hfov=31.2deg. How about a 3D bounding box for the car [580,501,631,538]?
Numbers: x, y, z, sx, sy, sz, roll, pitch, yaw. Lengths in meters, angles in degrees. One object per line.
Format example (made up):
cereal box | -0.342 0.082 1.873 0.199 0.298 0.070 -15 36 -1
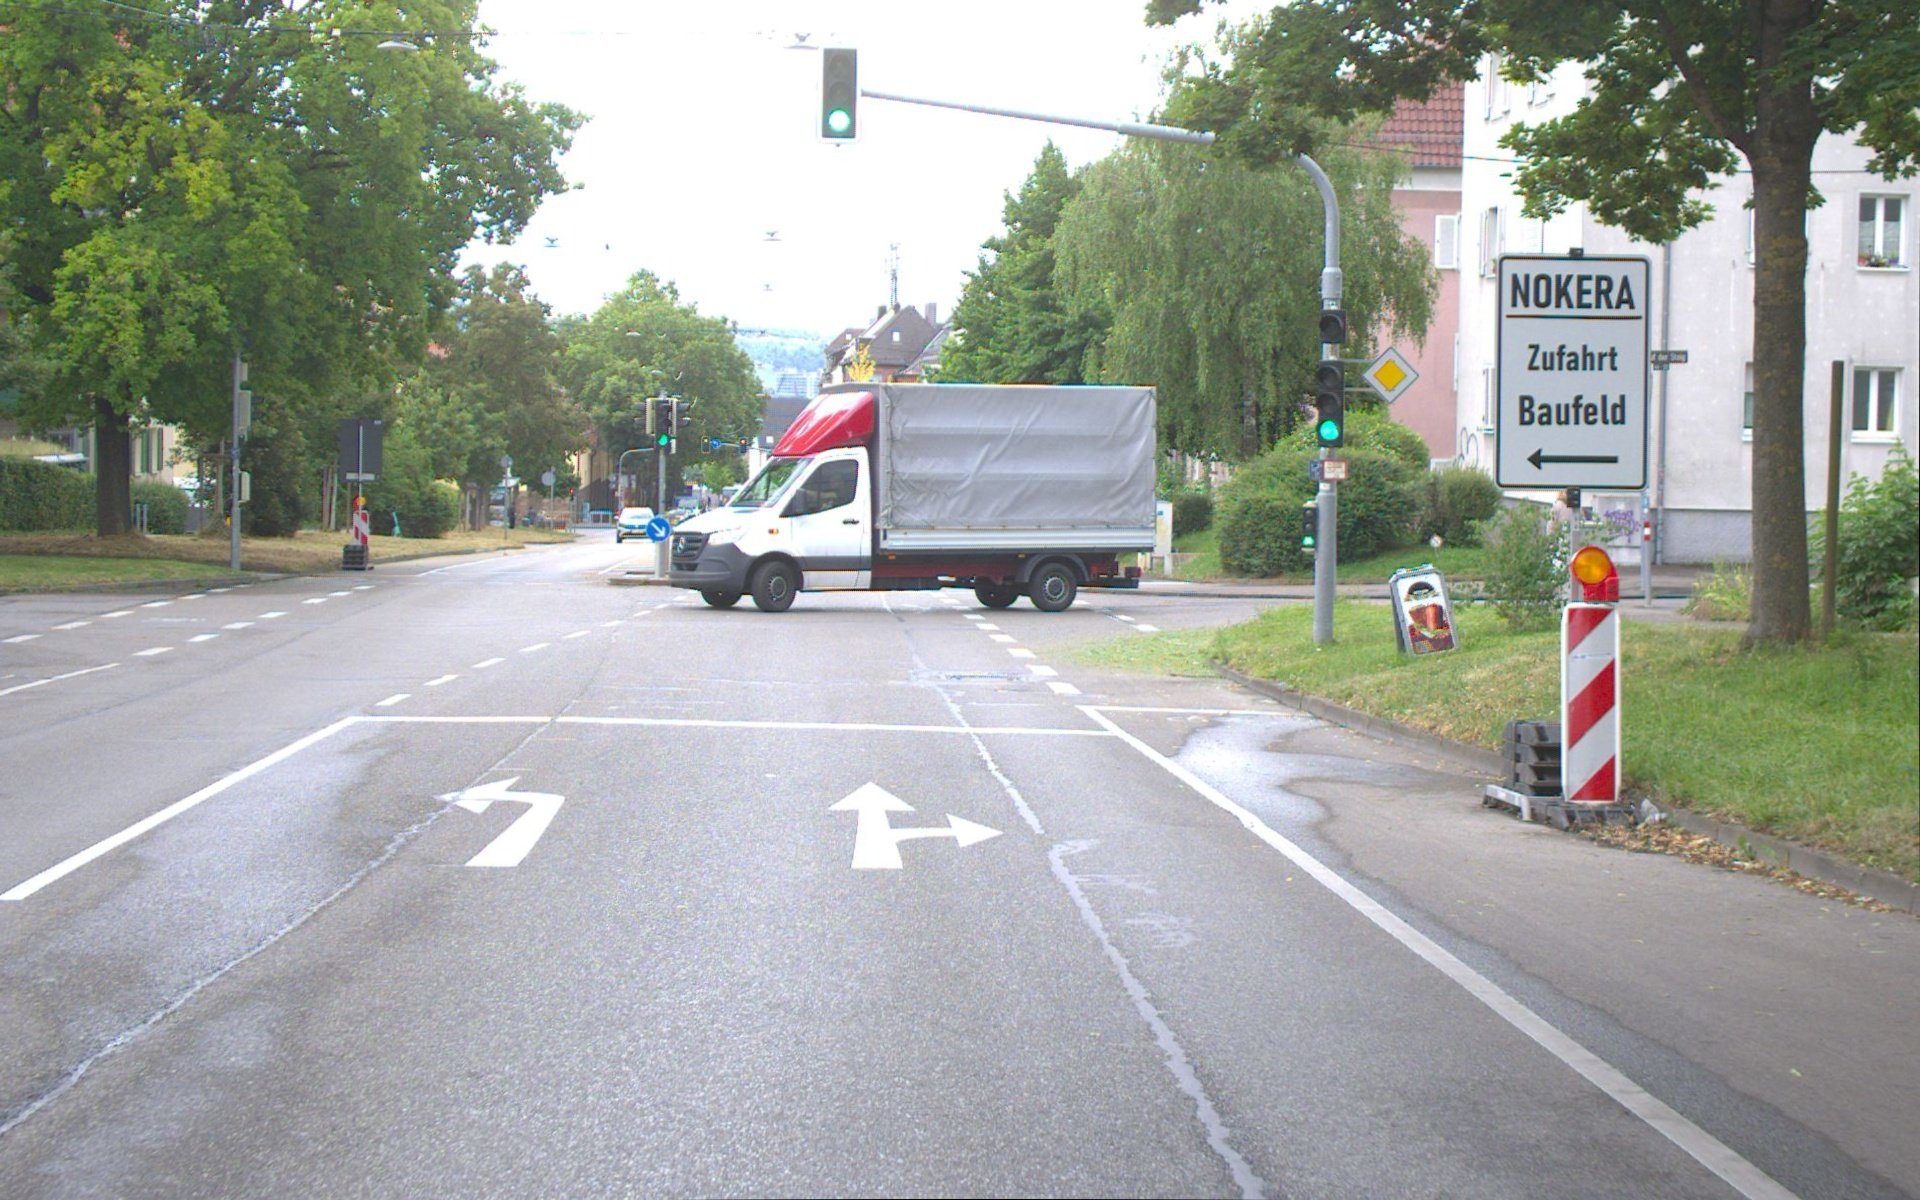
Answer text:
car | -15.109 -3.423 146.832 1.993 1.500 4.001 2 1 -4

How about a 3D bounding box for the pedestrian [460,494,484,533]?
pedestrian | -21.055 -3.742 148.308 0.948 1.644 1.043 1 1 -9

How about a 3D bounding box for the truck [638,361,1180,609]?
truck | -0.701 -1.589 48.833 7.225 3.295 2.541 0 2 -24

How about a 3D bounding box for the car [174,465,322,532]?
car | -18.153 -2.574 87.741 3.448 1.590 2.000 2 1 -4

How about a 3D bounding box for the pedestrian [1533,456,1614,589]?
pedestrian | 8.739 -1.107 48.998 0.747 1.848 0.955 -2 2 -17

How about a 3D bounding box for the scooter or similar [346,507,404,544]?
scooter or similar | -17.669 -2.252 103.891 1.692 1.079 0.747 1 1 -11

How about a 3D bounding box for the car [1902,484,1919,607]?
car | 12.586 -0.578 39.739 1.869 1.468 4.001 1 2 -7
